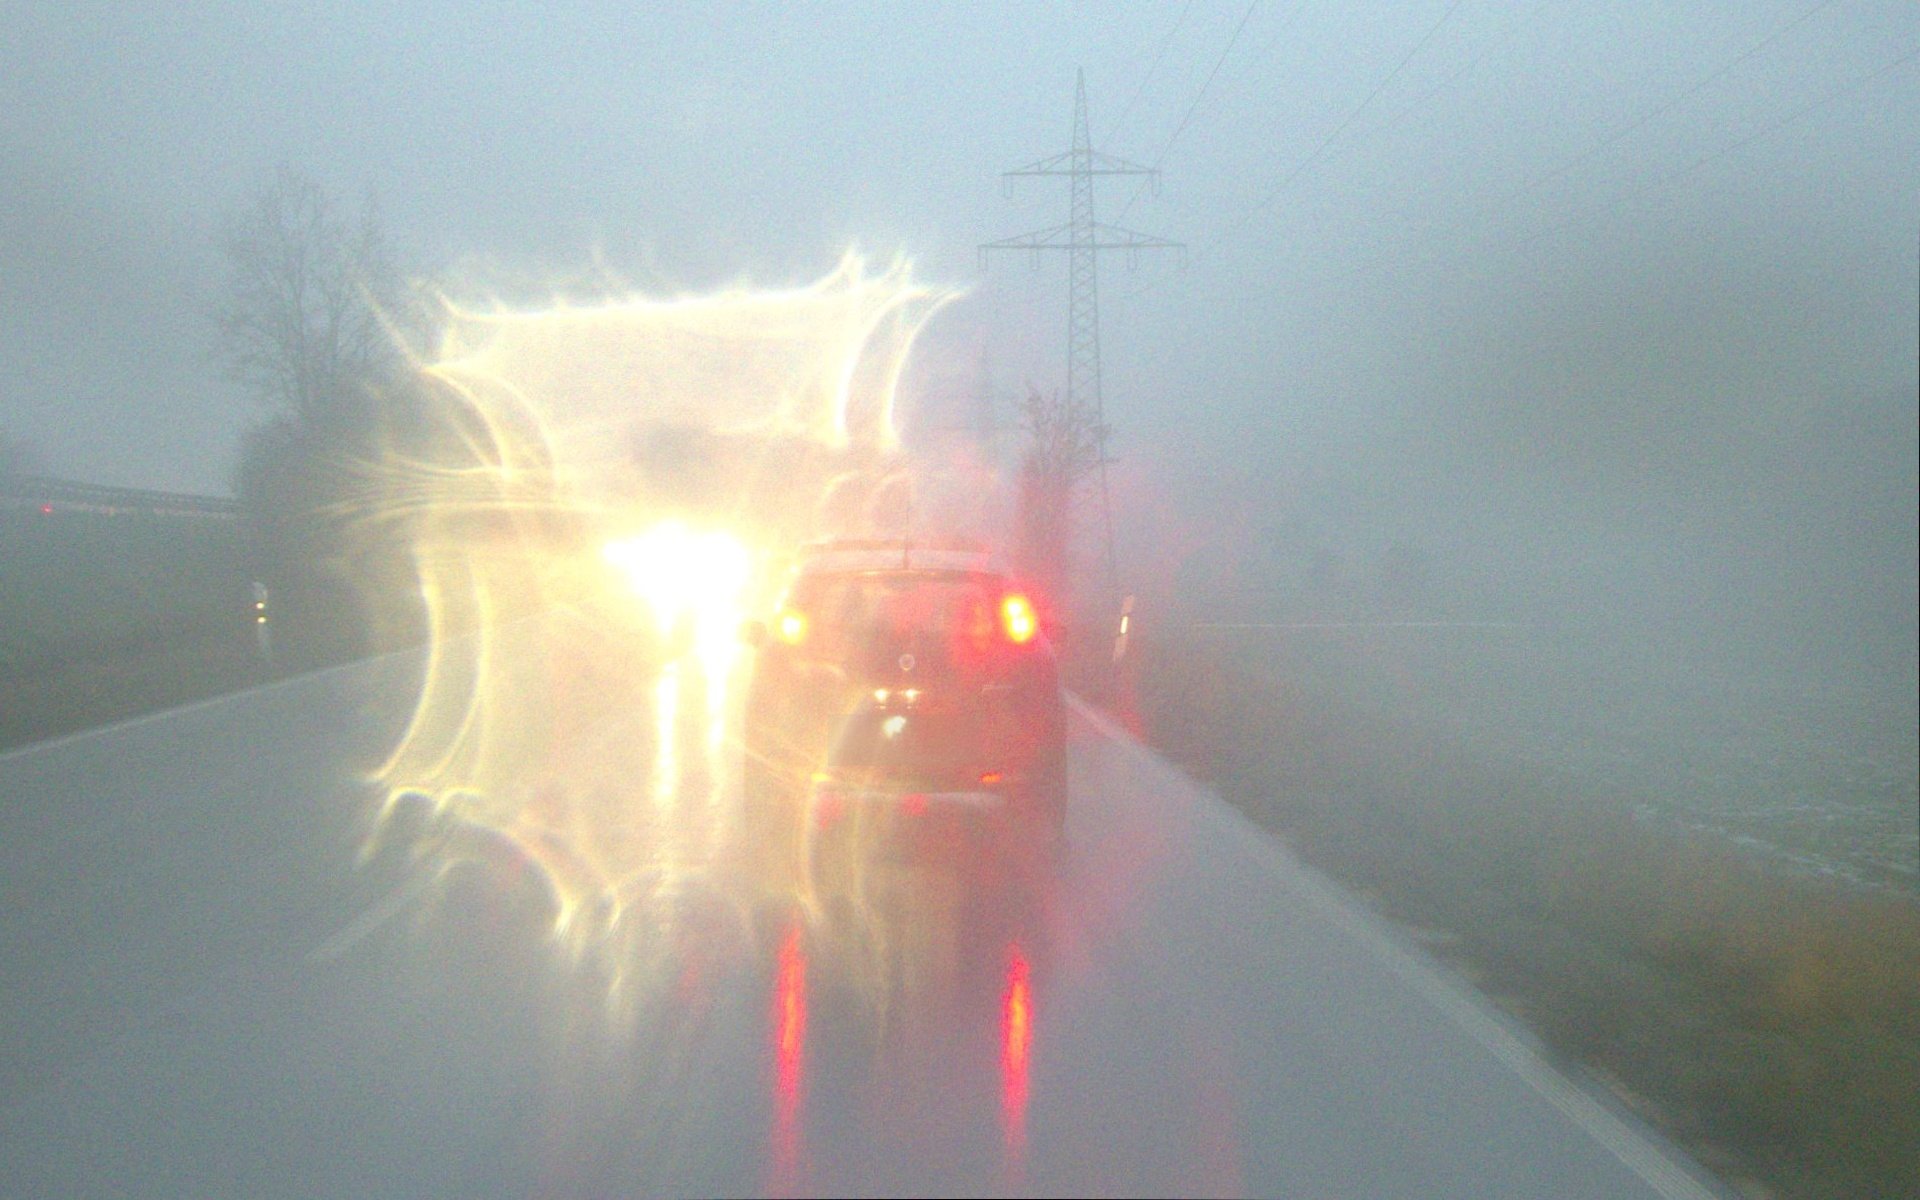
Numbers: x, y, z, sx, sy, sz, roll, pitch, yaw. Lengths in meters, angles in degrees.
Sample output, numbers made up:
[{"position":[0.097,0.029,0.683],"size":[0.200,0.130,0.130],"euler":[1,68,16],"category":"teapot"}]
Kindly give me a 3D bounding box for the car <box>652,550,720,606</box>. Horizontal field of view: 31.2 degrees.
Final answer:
[{"position":[-8.192,-0.689,103.057],"size":[1.785,1.585,4.487],"euler":[1,1,-2],"category":"car"}]

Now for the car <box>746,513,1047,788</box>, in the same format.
[{"position":[-0.422,0.237,19.159],"size":[1.500,1.393,3.200],"euler":[1,1,-4],"category":"car"}]

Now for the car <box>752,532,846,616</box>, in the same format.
[{"position":[-3.224,-0.544,68.285],"size":[1.769,1.585,4.165],"euler":[1,1,-4],"category":"car"}]

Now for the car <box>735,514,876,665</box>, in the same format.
[{"position":[-2.209,-0.167,48.293],"size":[1.852,2.007,4.001],"euler":[1,1,-4],"category":"car"}]
